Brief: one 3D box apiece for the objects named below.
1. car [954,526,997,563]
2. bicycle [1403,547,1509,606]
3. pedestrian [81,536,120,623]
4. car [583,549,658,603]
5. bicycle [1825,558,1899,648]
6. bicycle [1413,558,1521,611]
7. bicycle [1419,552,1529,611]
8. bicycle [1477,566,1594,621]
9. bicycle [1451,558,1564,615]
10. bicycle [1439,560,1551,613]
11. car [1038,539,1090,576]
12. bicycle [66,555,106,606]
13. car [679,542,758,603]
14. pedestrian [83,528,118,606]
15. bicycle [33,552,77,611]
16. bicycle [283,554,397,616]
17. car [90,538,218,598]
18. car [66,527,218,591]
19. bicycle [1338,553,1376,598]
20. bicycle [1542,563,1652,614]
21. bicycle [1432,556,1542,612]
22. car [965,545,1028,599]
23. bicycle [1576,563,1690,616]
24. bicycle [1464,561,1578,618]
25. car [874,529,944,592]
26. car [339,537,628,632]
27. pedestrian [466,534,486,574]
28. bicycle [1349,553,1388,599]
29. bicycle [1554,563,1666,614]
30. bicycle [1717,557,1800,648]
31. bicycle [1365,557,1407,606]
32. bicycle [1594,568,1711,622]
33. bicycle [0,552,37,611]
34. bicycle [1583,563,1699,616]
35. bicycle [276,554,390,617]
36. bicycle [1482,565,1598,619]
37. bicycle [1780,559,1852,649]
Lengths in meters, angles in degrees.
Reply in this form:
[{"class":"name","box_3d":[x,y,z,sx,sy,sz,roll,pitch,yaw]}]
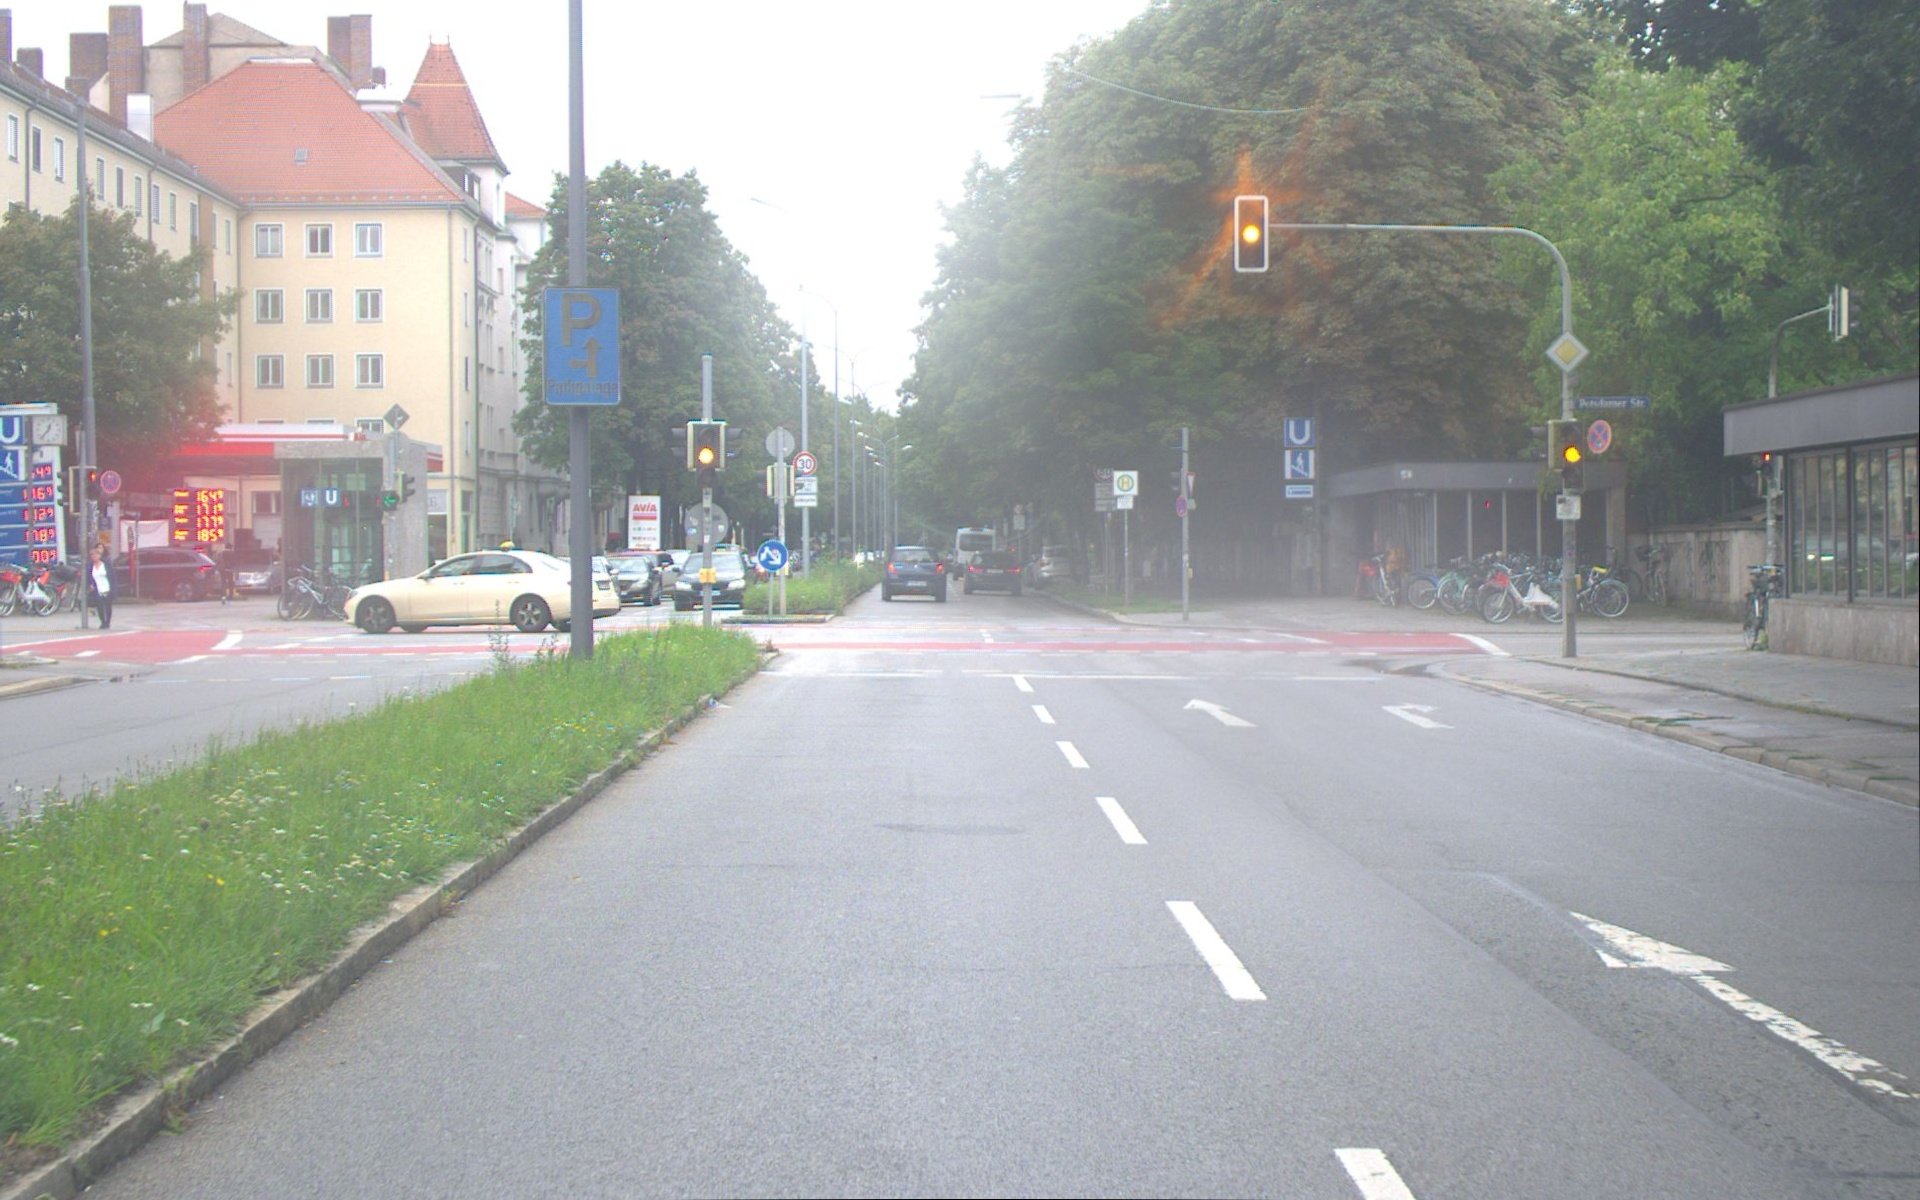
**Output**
[{"class":"car","box_3d":[0.728,-2.707,166.400,1.993,1.750,4.000,0,1,-1]},{"class":"bicycle","box_3d":[10.227,-0.482,70.903,2.143,1.214,0.603,0,1,8]},{"class":"pedestrian","box_3d":[-16.693,-0.399,66.786,0.534,1.689,0.577,0,1,8]},{"class":"car","box_3d":[-9.498,-0.687,96.336,1.759,1.455,4.000,0,1,-1]},{"class":"bicycle","box_3d":[11.388,0.034,43.451,0.469,1.117,1.735,0,0,0]},{"class":"bicycle","box_3d":[10.214,-0.320,69.305,2.143,1.058,0.603,0,1,8]},{"class":"bicycle","box_3d":[10.252,-0.371,68.602,2.143,1.174,0.603,0,1,8]},{"class":"bicycle","box_3d":[10.757,-0.125,64.338,2.143,1.011,0.603,0,1,8]},{"class":"bicycle","box_3d":[10.575,-0.263,66.421,2.143,1.097,0.603,0,1,8]},{"class":"bicycle","box_3d":[10.439,-0.267,67.136,2.143,1.011,0.603,0,1,8]},{"class":"car","box_3d":[3.837,-1.583,127.044,1.743,1.358,3.807,0,1,-1]},{"class":"bicycle","box_3d":[-19.815,-0.451,77.954,0.608,1.141,1.966,0,1,-7]},{"class":"car","box_3d":[-6.058,-0.716,86.512,1.759,1.488,4.000,0,1,-1]},{"class":"pedestrian","box_3d":[-18.636,-0.718,74.560,0.589,1.689,0.577,-1,1,-31]},{"class":"bicycle","box_3d":[-19.428,-0.415,73.807,0.608,1.231,2.188,0,1,-7]},{"class":"bicycle","box_3d":[-13.171,-0.325,73.097,2.285,1.300,0.694,0,1,1]},{"class":"car","box_3d":[-27.425,-1.096,117.020,3.986,2.007,1.891,0,1,-4]},{"class":"car","box_3d":[-23.605,-1.191,99.297,3.986,1.831,1.881,0,1,-3]},{"class":"bicycle","box_3d":[9.165,-0.568,79.459,0.556,1.011,2.016,0,1,-2]},{"class":"bicycle","box_3d":[12.814,-0.239,69.199,2.143,1.011,0.634,0,1,8]},{"class":"bicycle","box_3d":[10.391,-0.312,67.865,2.143,1.082,0.603,0,1,8]},{"class":"car","box_3d":[1.167,-0.901,110.906,1.922,1.678,4.000,1,0,0]},{"class":"bicycle","box_3d":[13.078,-0.208,66.827,2.143,1.011,0.634,0,1,8]},{"class":"bicycle","box_3d":[10.720,-0.206,65.767,2.143,1.067,0.603,0,1,8]},{"class":"car","box_3d":[-1.389,-1.097,94.195,1.857,1.678,4.000,0,1,-1]},{"class":"car","box_3d":[-8.445,-0.293,61.011,4.769,1.641,1.784,0,1,15]},{"class":"pedestrian","box_3d":[-19.799,-1.896,140.574,0.696,1.632,0.738,0,1,0]},{"class":"bicycle","box_3d":[9.044,-0.536,76.153,0.556,1.011,2.016,0,1,-2]},{"class":"bicycle","box_3d":[12.926,-0.230,68.406,2.143,1.011,0.634,0,1,8]},{"class":"bicycle","box_3d":[10.072,0.026,43.429,0.599,1.117,1.890,0,0,0]},{"class":"bicycle","box_3d":[9.084,-0.400,73.424,0.556,1.011,2.016,0,1,-2]},{"class":"bicycle","box_3d":[13.140,-0.094,65.264,2.143,1.011,0.634,0,1,8]},{"class":"bicycle","box_3d":[-20.079,-0.401,72.979,0.608,1.231,2.188,0,1,-7]},{"class":"bicycle","box_3d":[13.080,-0.203,66.060,2.143,1.011,0.634,0,1,8]},{"class":"bicycle","box_3d":[-13.187,-0.301,72.317,2.271,1.300,0.704,0,1,1]},{"class":"bicycle","box_3d":[10.950,-0.146,64.962,2.143,1.011,0.634,0,1,8]},{"class":"bicycle","box_3d":[10.808,0.050,43.447,0.469,1.117,1.735,0,0,0]}]
